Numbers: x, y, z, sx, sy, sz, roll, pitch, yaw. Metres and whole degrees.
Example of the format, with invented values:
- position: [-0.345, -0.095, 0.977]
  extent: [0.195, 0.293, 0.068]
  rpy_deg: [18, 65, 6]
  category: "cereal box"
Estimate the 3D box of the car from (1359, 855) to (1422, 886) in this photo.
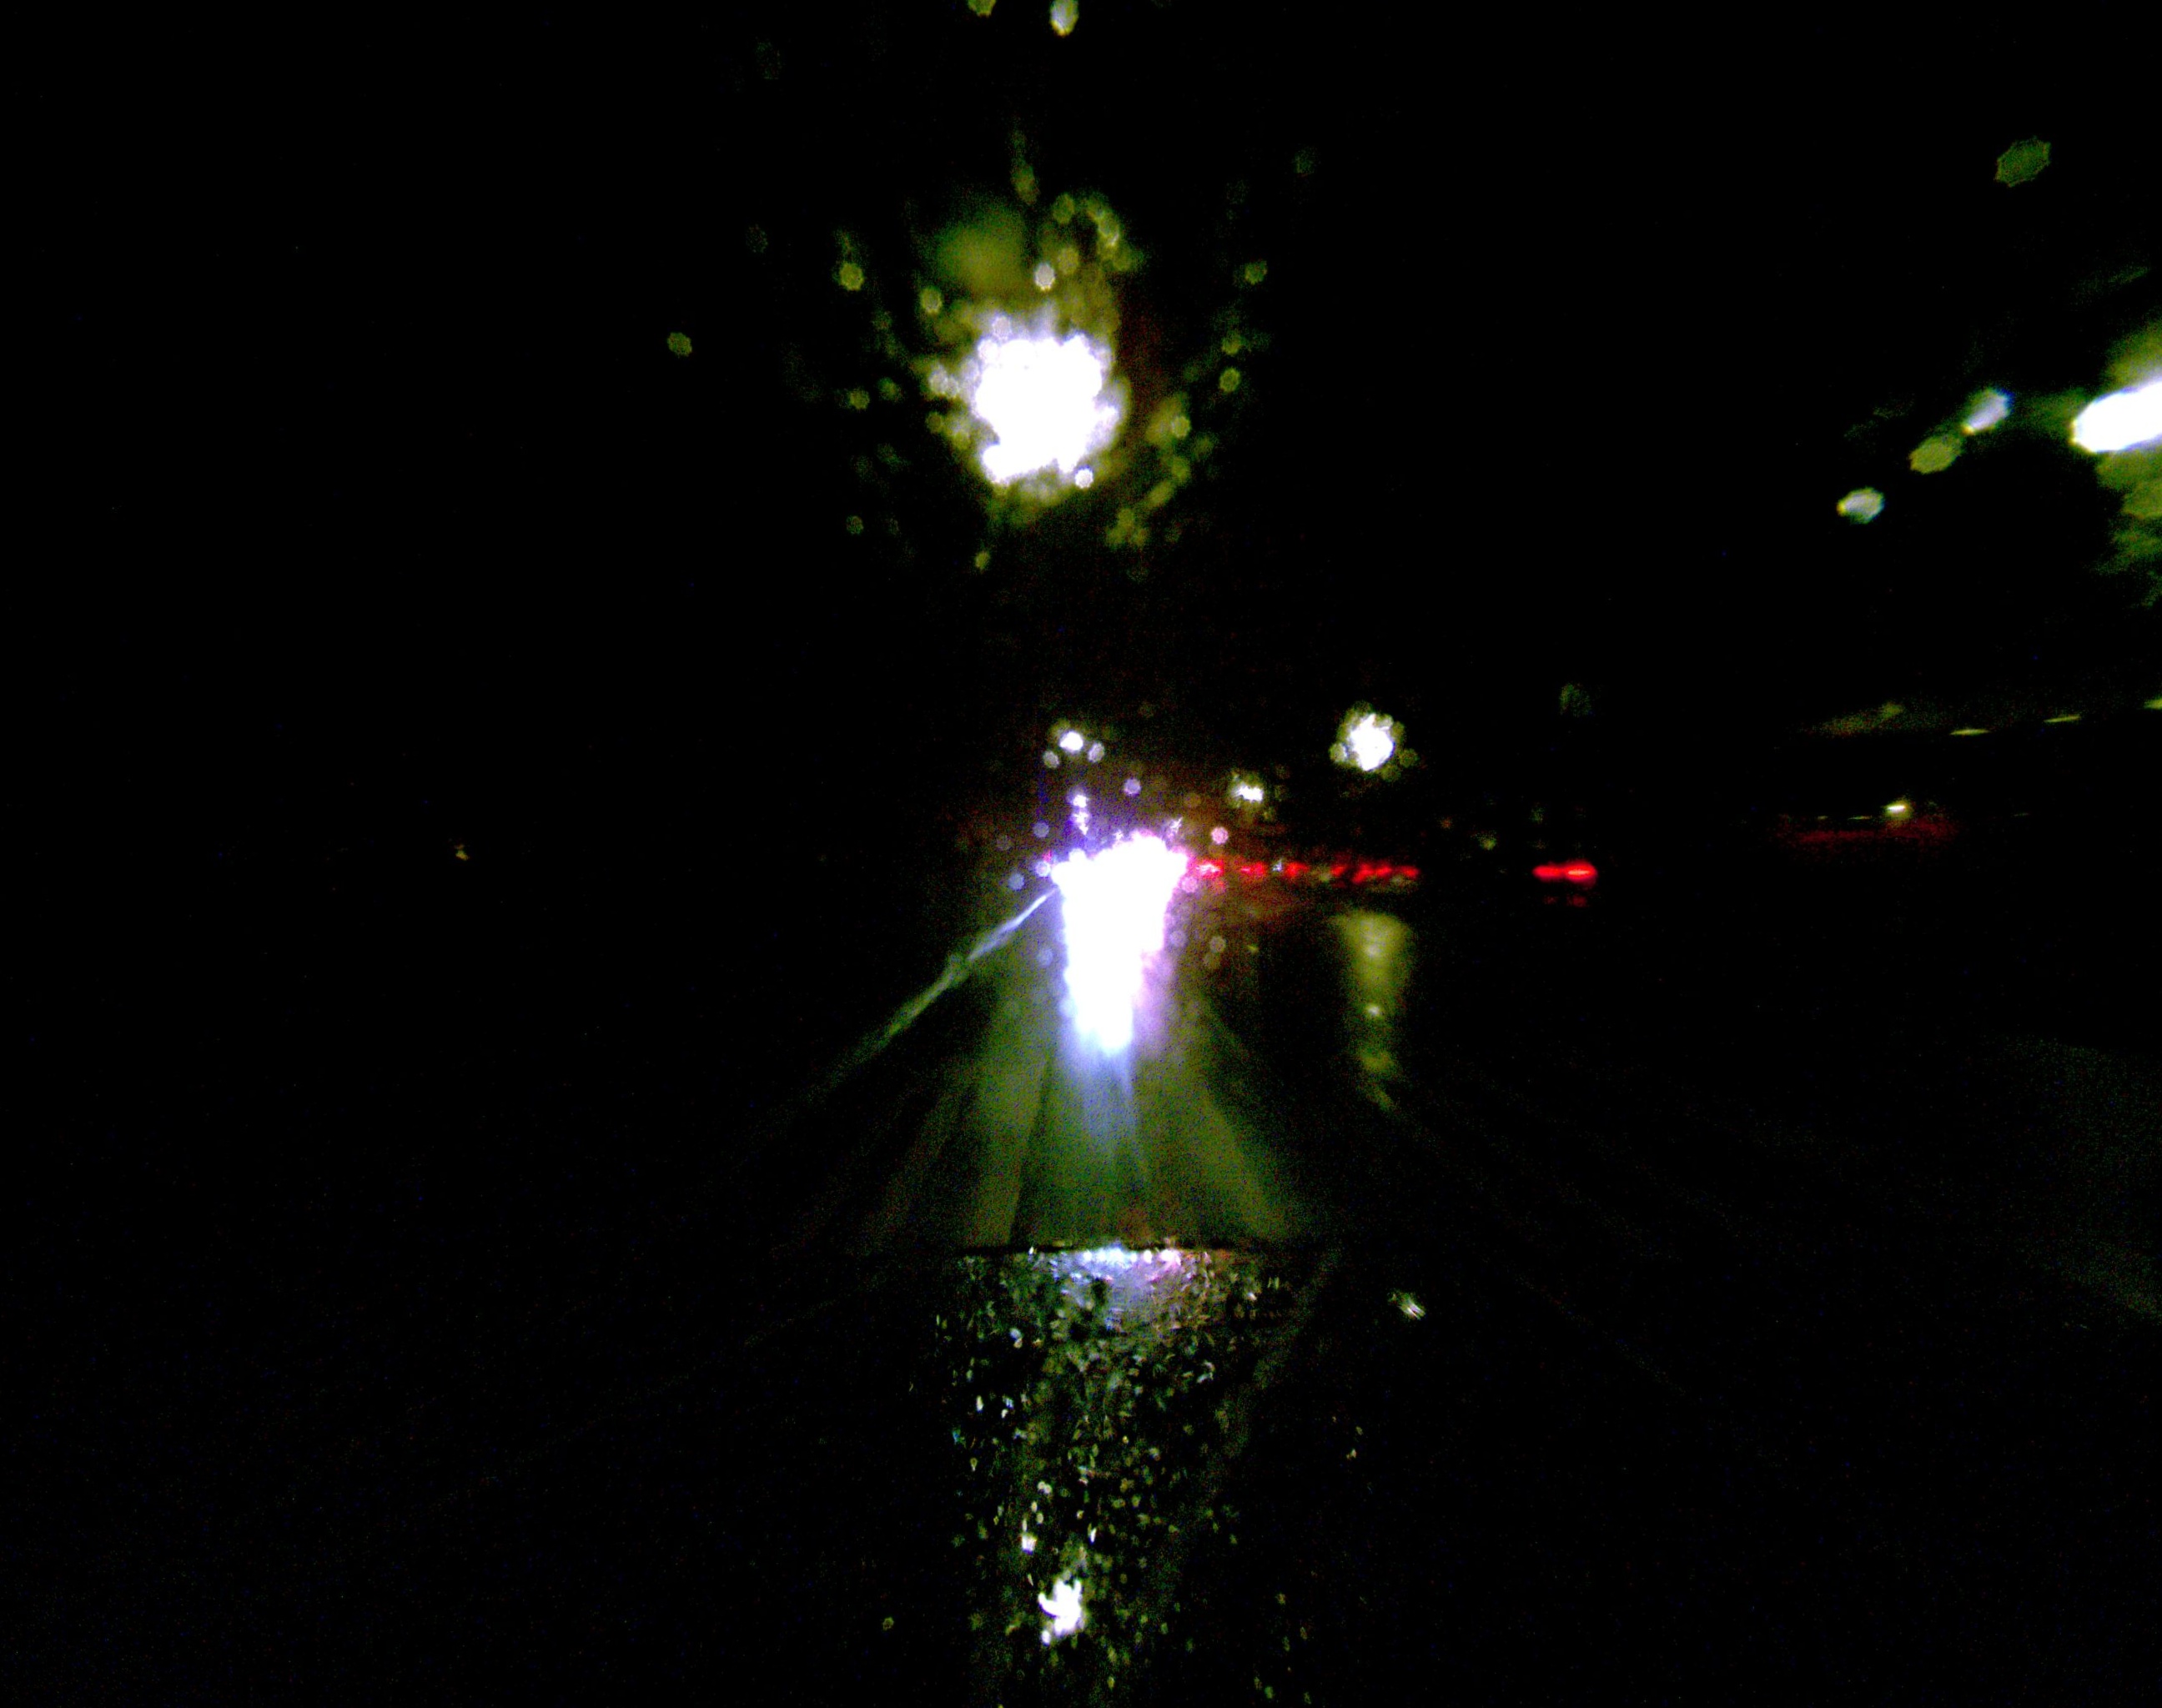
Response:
- position: [17.321, 0.901, 42.772]
  extent: [1.847, 1.583, 4.366]
  rpy_deg: [-2, 0, 2]
  category: "car"

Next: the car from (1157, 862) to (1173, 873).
- position: [12.666, 2.042, 114.494]
  extent: [1.848, 1.583, 4.256]
  rpy_deg: [2, 0, 0]
  category: "car"

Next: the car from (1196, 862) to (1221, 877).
- position: [15.022, 1.827, 89.700]
  extent: [1.848, 1.583, 5.326]
  rpy_deg: [-2, 0, -3]
  category: "car"

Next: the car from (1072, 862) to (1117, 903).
- position: [0.638, 1.302, 35.900]
  extent: [1.950, 1.709, 4.442]
  rpy_deg: [-2, 0, 1]
  category: "car"

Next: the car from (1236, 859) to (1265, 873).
- position: [17.988, 1.229, 80.941]
  extent: [1.848, 1.350, 5.558]
  rpy_deg: [-2, 0, 0]
  category: "car"

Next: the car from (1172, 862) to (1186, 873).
- position: [15.769, 2.145, 122.868]
  extent: [1.711, 1.568, 3.820]
  rpy_deg: [-2, 0, 0]
  category: "car"

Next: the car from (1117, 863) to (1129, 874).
- position: [6.846, 2.330, 124.166]
  extent: [1.833, 1.696, 4.194]
  rpy_deg: [-2, 0, 1]
  category: "car"

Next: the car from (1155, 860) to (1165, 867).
- position: [16.798, 2.009, 162.358]
  extent: [1.711, 1.568, 3.820]
  rpy_deg: [-2, 0, 0]
  category: "car"

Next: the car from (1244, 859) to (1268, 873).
- position: [21.054, 1.450, 91.656]
  extent: [1.847, 1.583, 4.751]
  rpy_deg: [-2, 0, 2]
  category: "car"

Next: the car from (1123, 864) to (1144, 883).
- position: [5.242, 1.921, 76.169]
  extent: [1.833, 1.696, 4.194]
  rpy_deg: [-2, 0, 1]
  category: "car"

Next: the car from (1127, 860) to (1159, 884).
- position: [4.262, 1.180, 52.597]
  extent: [1.833, 1.518, 4.875]
  rpy_deg: [-2, 0, 1]
  category: "car"

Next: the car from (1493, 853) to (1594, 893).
- position: [20.099, 0.792, 33.244]
  extent: [1.847, 1.583, 4.366]
  rpy_deg: [-2, 0, 2]
  category: "car"

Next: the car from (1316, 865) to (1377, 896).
- position: [14.188, 1.392, 40.808]
  extent: [1.847, 1.477, 4.366]
  rpy_deg: [-2, 0, 2]
  category: "car"

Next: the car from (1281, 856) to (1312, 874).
- position: [20.722, 1.010, 73.148]
  extent: [1.847, 1.583, 4.366]
  rpy_deg: [-2, 0, 2]
  category: "car"

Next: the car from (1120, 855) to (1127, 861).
- position: [12.255, 1.055, 220.388]
  extent: [1.833, 1.696, 4.194]
  rpy_deg: [-2, 0, 1]
  category: "car"
